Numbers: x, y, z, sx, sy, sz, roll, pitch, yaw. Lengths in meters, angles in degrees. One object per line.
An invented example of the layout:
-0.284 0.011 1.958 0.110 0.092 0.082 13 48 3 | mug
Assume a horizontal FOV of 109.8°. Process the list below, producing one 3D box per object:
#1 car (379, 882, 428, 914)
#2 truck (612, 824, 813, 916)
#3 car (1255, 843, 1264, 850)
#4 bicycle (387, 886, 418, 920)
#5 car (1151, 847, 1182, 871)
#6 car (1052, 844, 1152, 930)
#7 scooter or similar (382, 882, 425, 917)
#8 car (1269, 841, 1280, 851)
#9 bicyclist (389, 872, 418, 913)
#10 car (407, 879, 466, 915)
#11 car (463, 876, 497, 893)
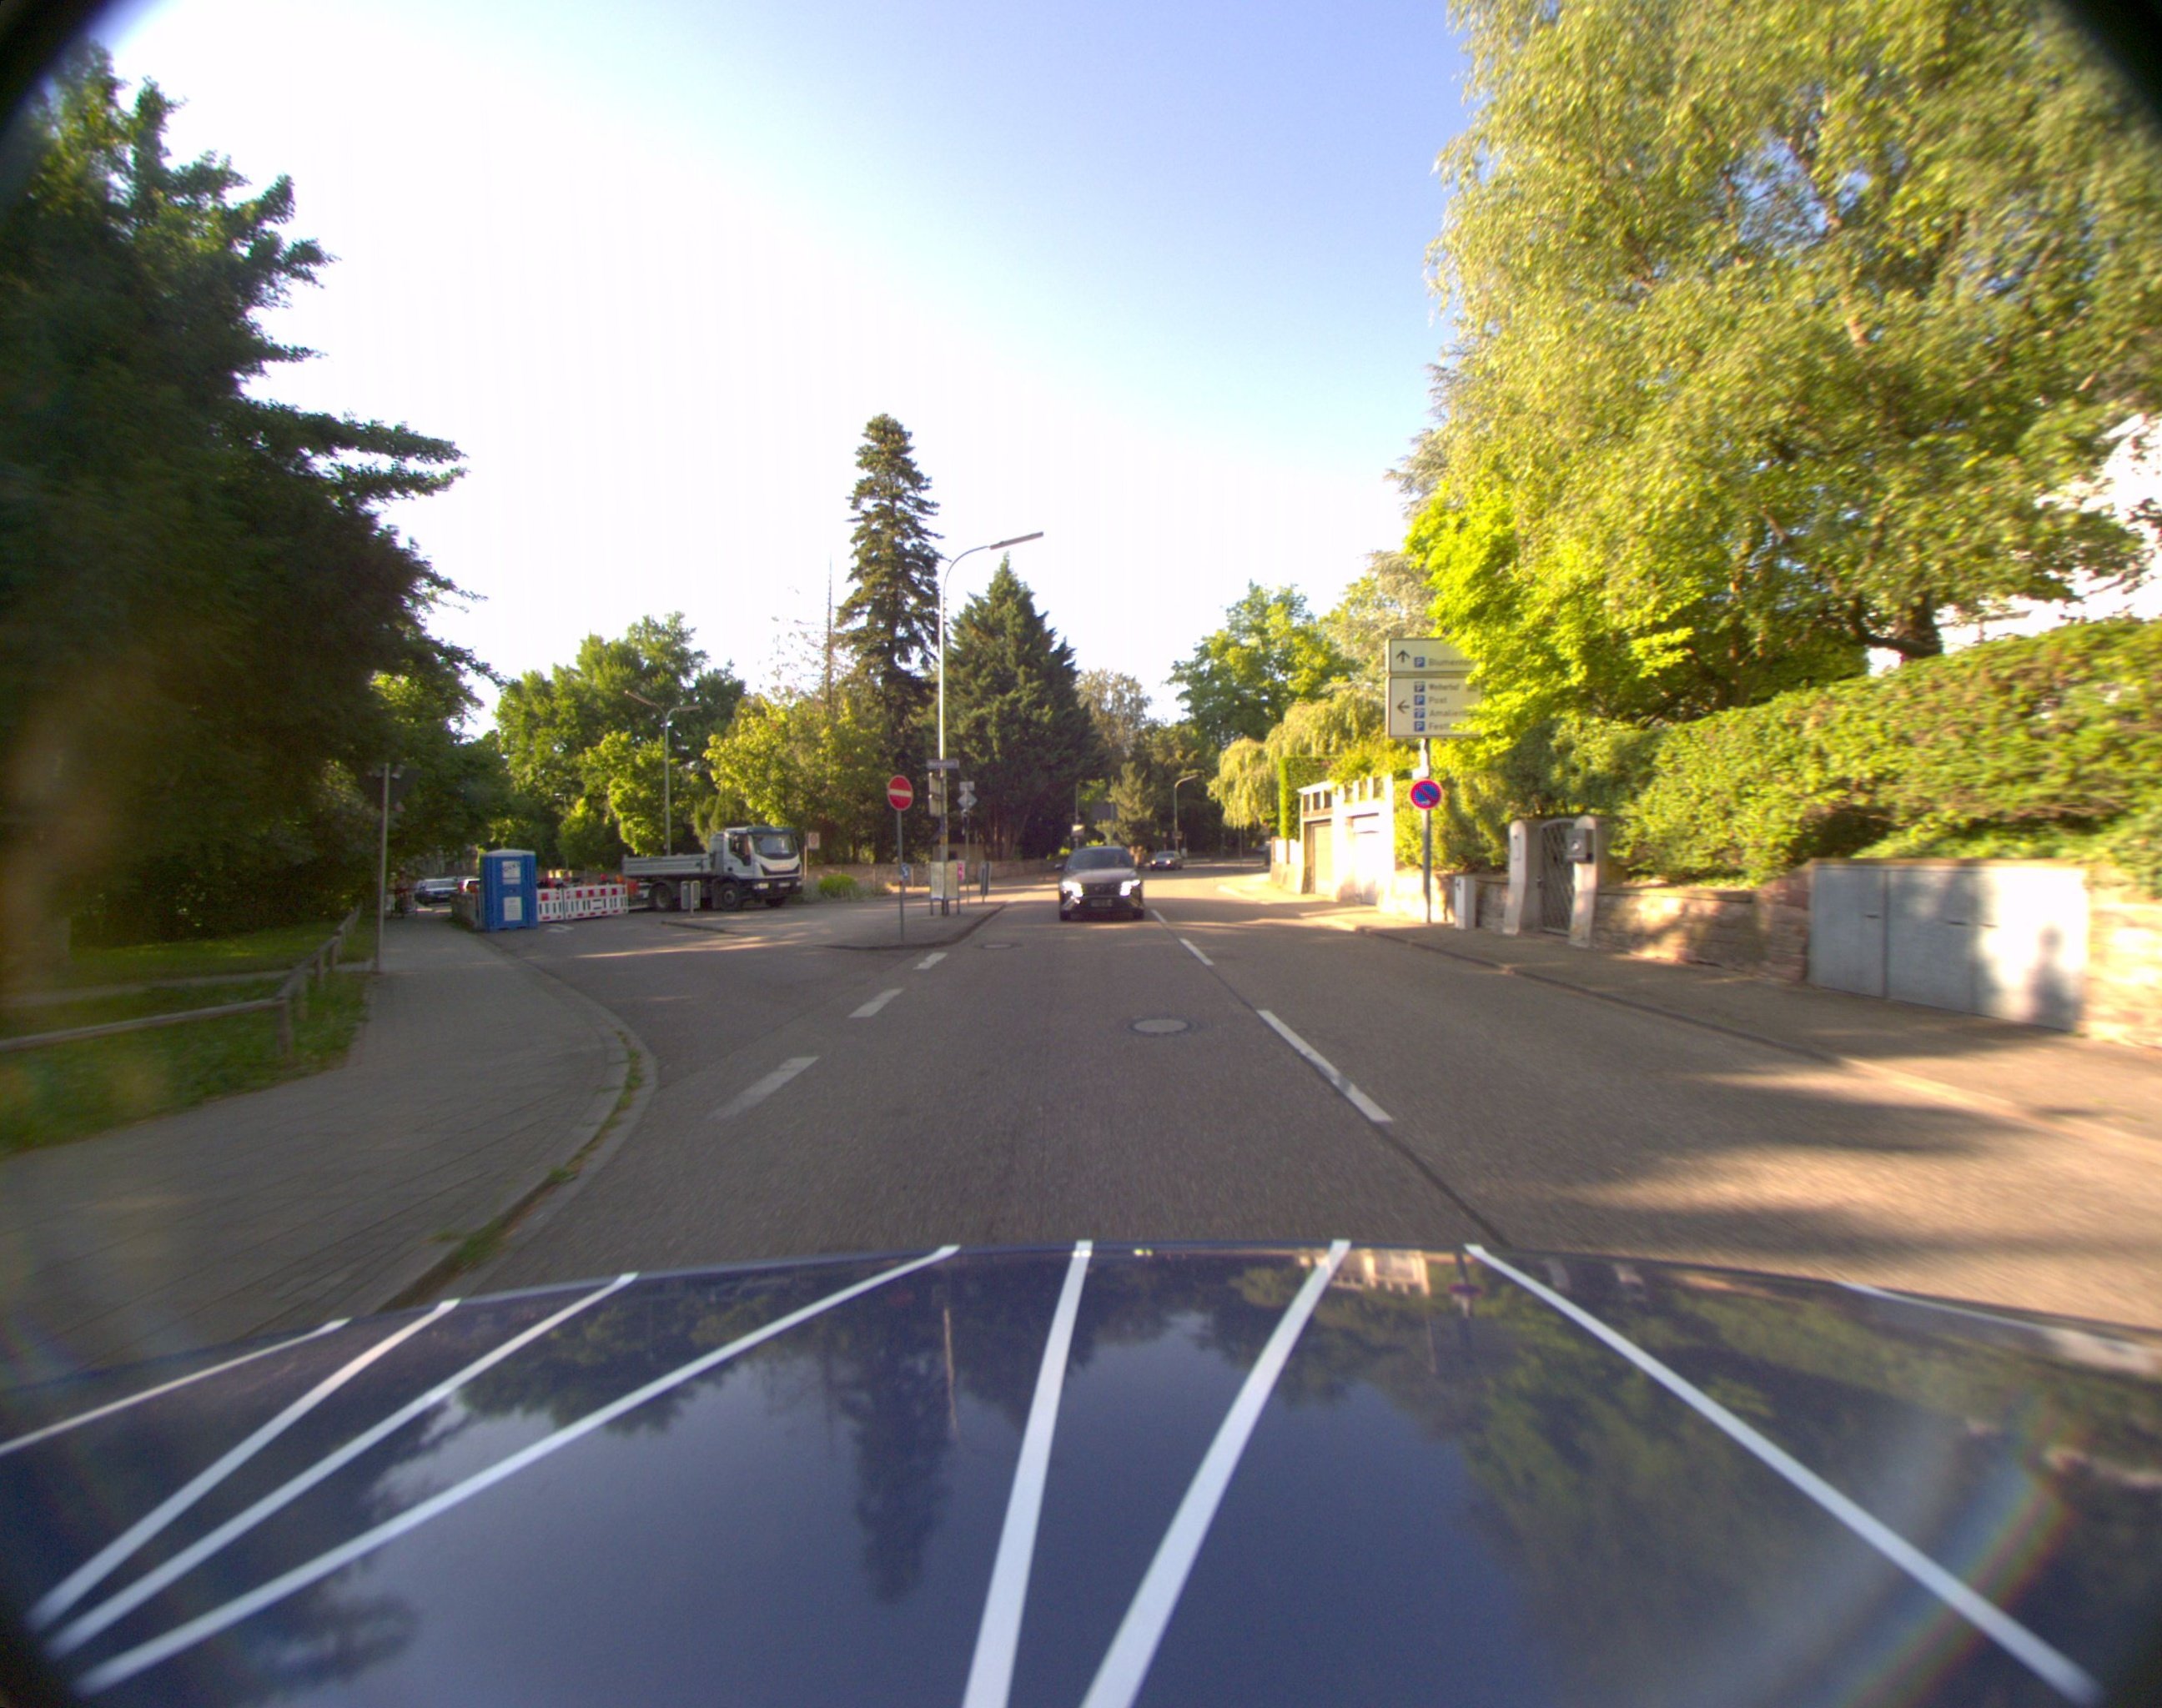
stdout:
-46.233 2.977 51.821 3.989 2.002 2.004 -2 1 42 | car
-13.018 0.603 26.831 6.594 2.878 2.436 -3 1 22 | truck
37.030 -1.637 157.489 1.821 1.375 3.939 2 2 14 | car
-25.375 1.813 28.442 0.765 1.199 2.834 3 -3 -41 | bicycle
6.437 0.334 57.001 1.997 1.630 4.003 -3 0 10 | car
0.473 0.641 17.235 1.936 1.676 4.432 -1 0 2 | car
-26.633 1.788 29.904 1.157 1.316 1.179 5 -5 -41 | scooter or similar
39.291 -1.623 154.306 1.996 2.002 4.004 -2 0 15 | car
-25.260 1.430 28.335 0.762 1.476 0.642 3 -3 -41 | bicyclist
-39.808 2.626 46.888 3.989 2.002 2.004 -2 1 39 | car
-57.317 2.934 72.400 3.904 1.514 1.842 -2 1 42 | car
